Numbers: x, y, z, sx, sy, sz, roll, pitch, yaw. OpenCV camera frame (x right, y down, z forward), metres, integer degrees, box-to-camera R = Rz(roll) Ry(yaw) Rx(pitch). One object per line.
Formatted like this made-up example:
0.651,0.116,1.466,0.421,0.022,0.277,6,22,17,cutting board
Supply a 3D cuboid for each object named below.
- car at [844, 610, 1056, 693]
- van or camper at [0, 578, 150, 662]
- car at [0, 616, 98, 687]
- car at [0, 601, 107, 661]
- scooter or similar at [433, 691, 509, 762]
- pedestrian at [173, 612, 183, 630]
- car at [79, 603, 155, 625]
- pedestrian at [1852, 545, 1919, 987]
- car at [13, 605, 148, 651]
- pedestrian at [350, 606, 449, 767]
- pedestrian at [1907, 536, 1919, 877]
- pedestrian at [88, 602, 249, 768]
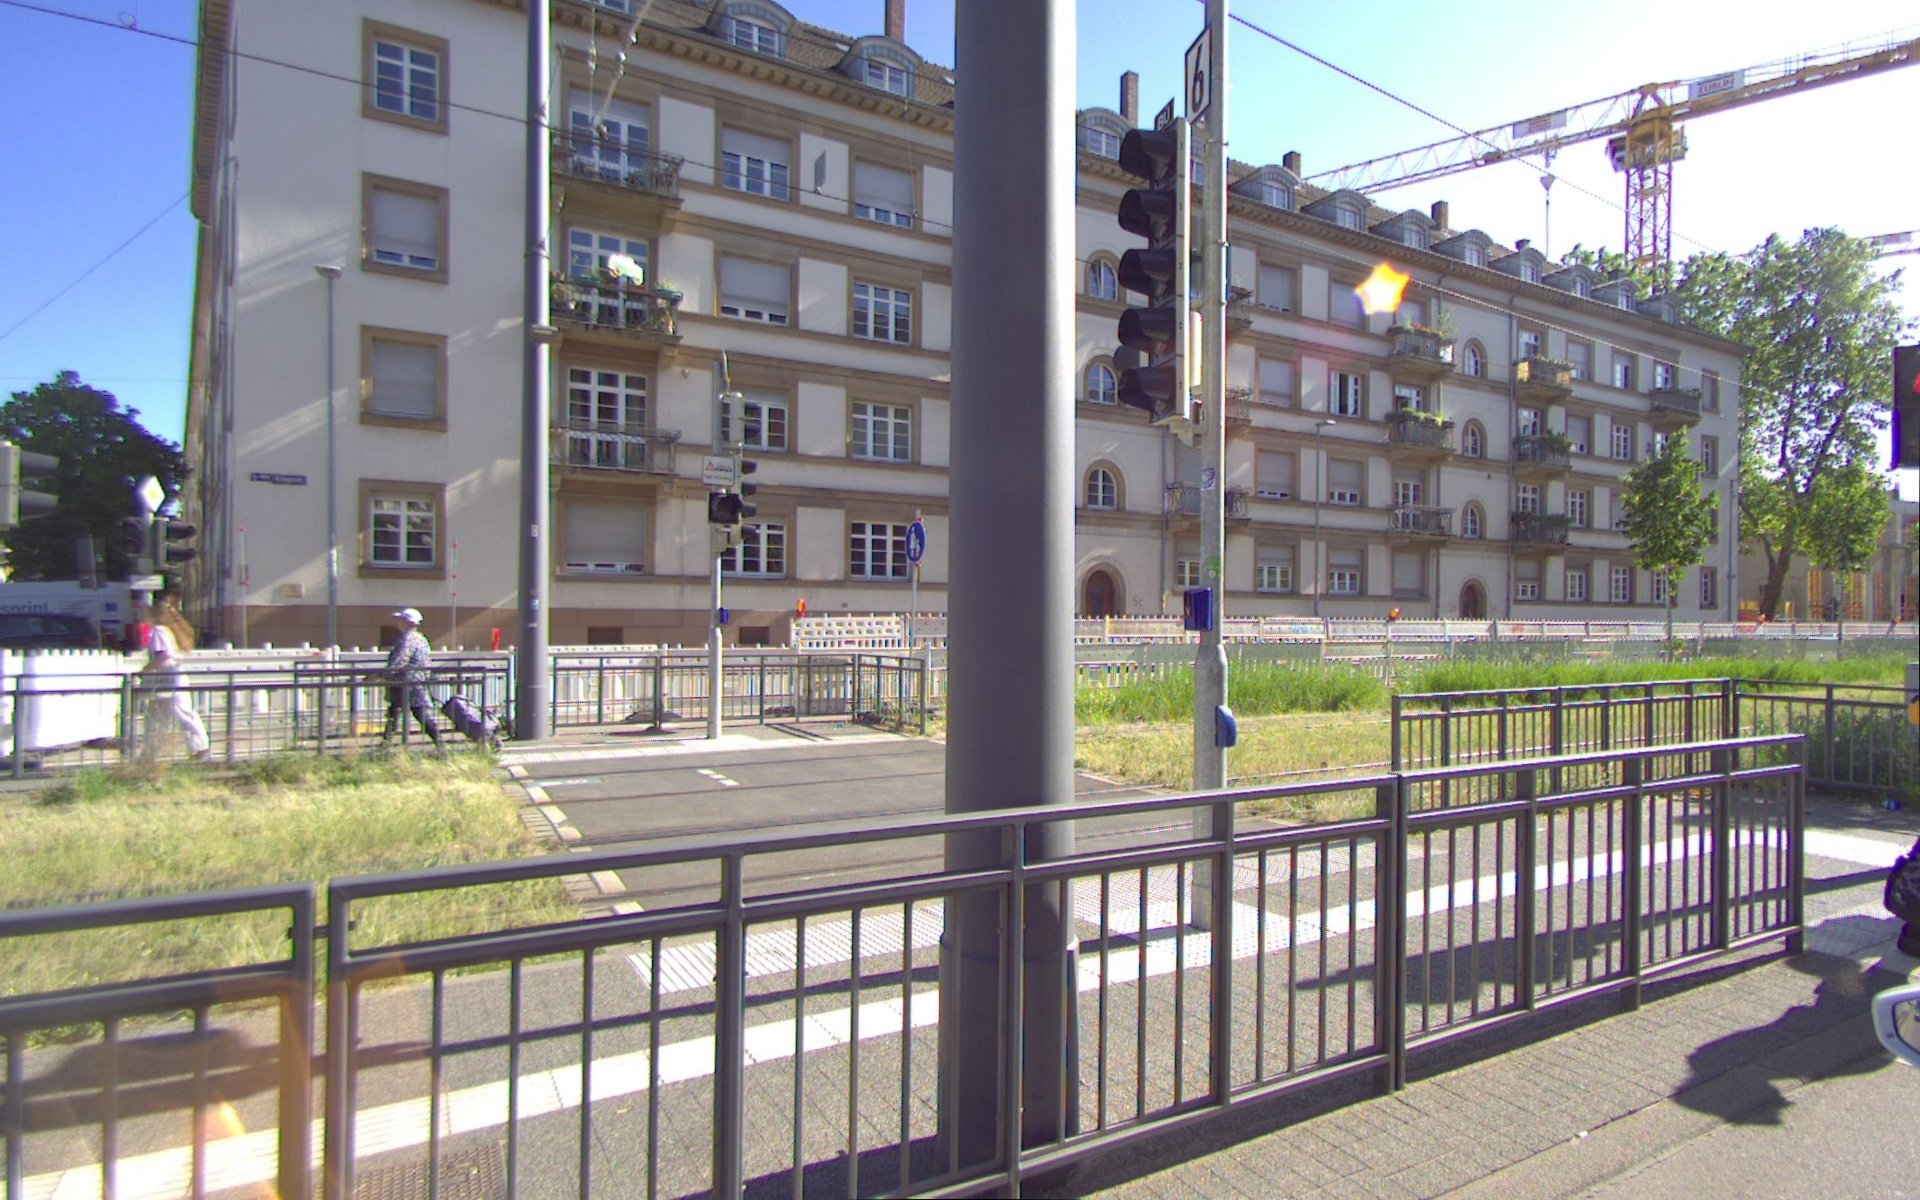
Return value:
-0.174,0.997,20.397,3.953,1.536,1.808,1,-1,-30,car
-28.081,0.591,30.043,5.911,2.432,1.976,1,-1,-42,van or camper
-21.692,1.132,22.424,3.642,1.542,1.672,1,-1,-39,car
-25.041,0.801,26.618,3.635,1.542,1.672,1,-1,-39,car
-5.152,1.320,10.607,0.700,0.660,0.512,1,0,-26,scooter or similar
-77.016,2.032,98.912,0.682,1.778,0.808,1,-1,-36,pedestrian
-58.226,0.997,69.447,1.730,1.480,3.854,-1,-1,43,car
4.460,0.690,4.222,0.961,1.812,0.859,1,0,-36,pedestrian
-35.550,1.118,40.761,3.963,1.799,1.724,1,-1,-37,car
-5.716,0.846,10.285,0.804,1.557,0.793,1,0,-26,pedestrian
5.978,0.602,5.491,0.647,1.934,1.068,1,-1,-36,pedestrian
-7.855,0.809,10.005,0.850,1.557,0.910,1,0,8,pedestrian
